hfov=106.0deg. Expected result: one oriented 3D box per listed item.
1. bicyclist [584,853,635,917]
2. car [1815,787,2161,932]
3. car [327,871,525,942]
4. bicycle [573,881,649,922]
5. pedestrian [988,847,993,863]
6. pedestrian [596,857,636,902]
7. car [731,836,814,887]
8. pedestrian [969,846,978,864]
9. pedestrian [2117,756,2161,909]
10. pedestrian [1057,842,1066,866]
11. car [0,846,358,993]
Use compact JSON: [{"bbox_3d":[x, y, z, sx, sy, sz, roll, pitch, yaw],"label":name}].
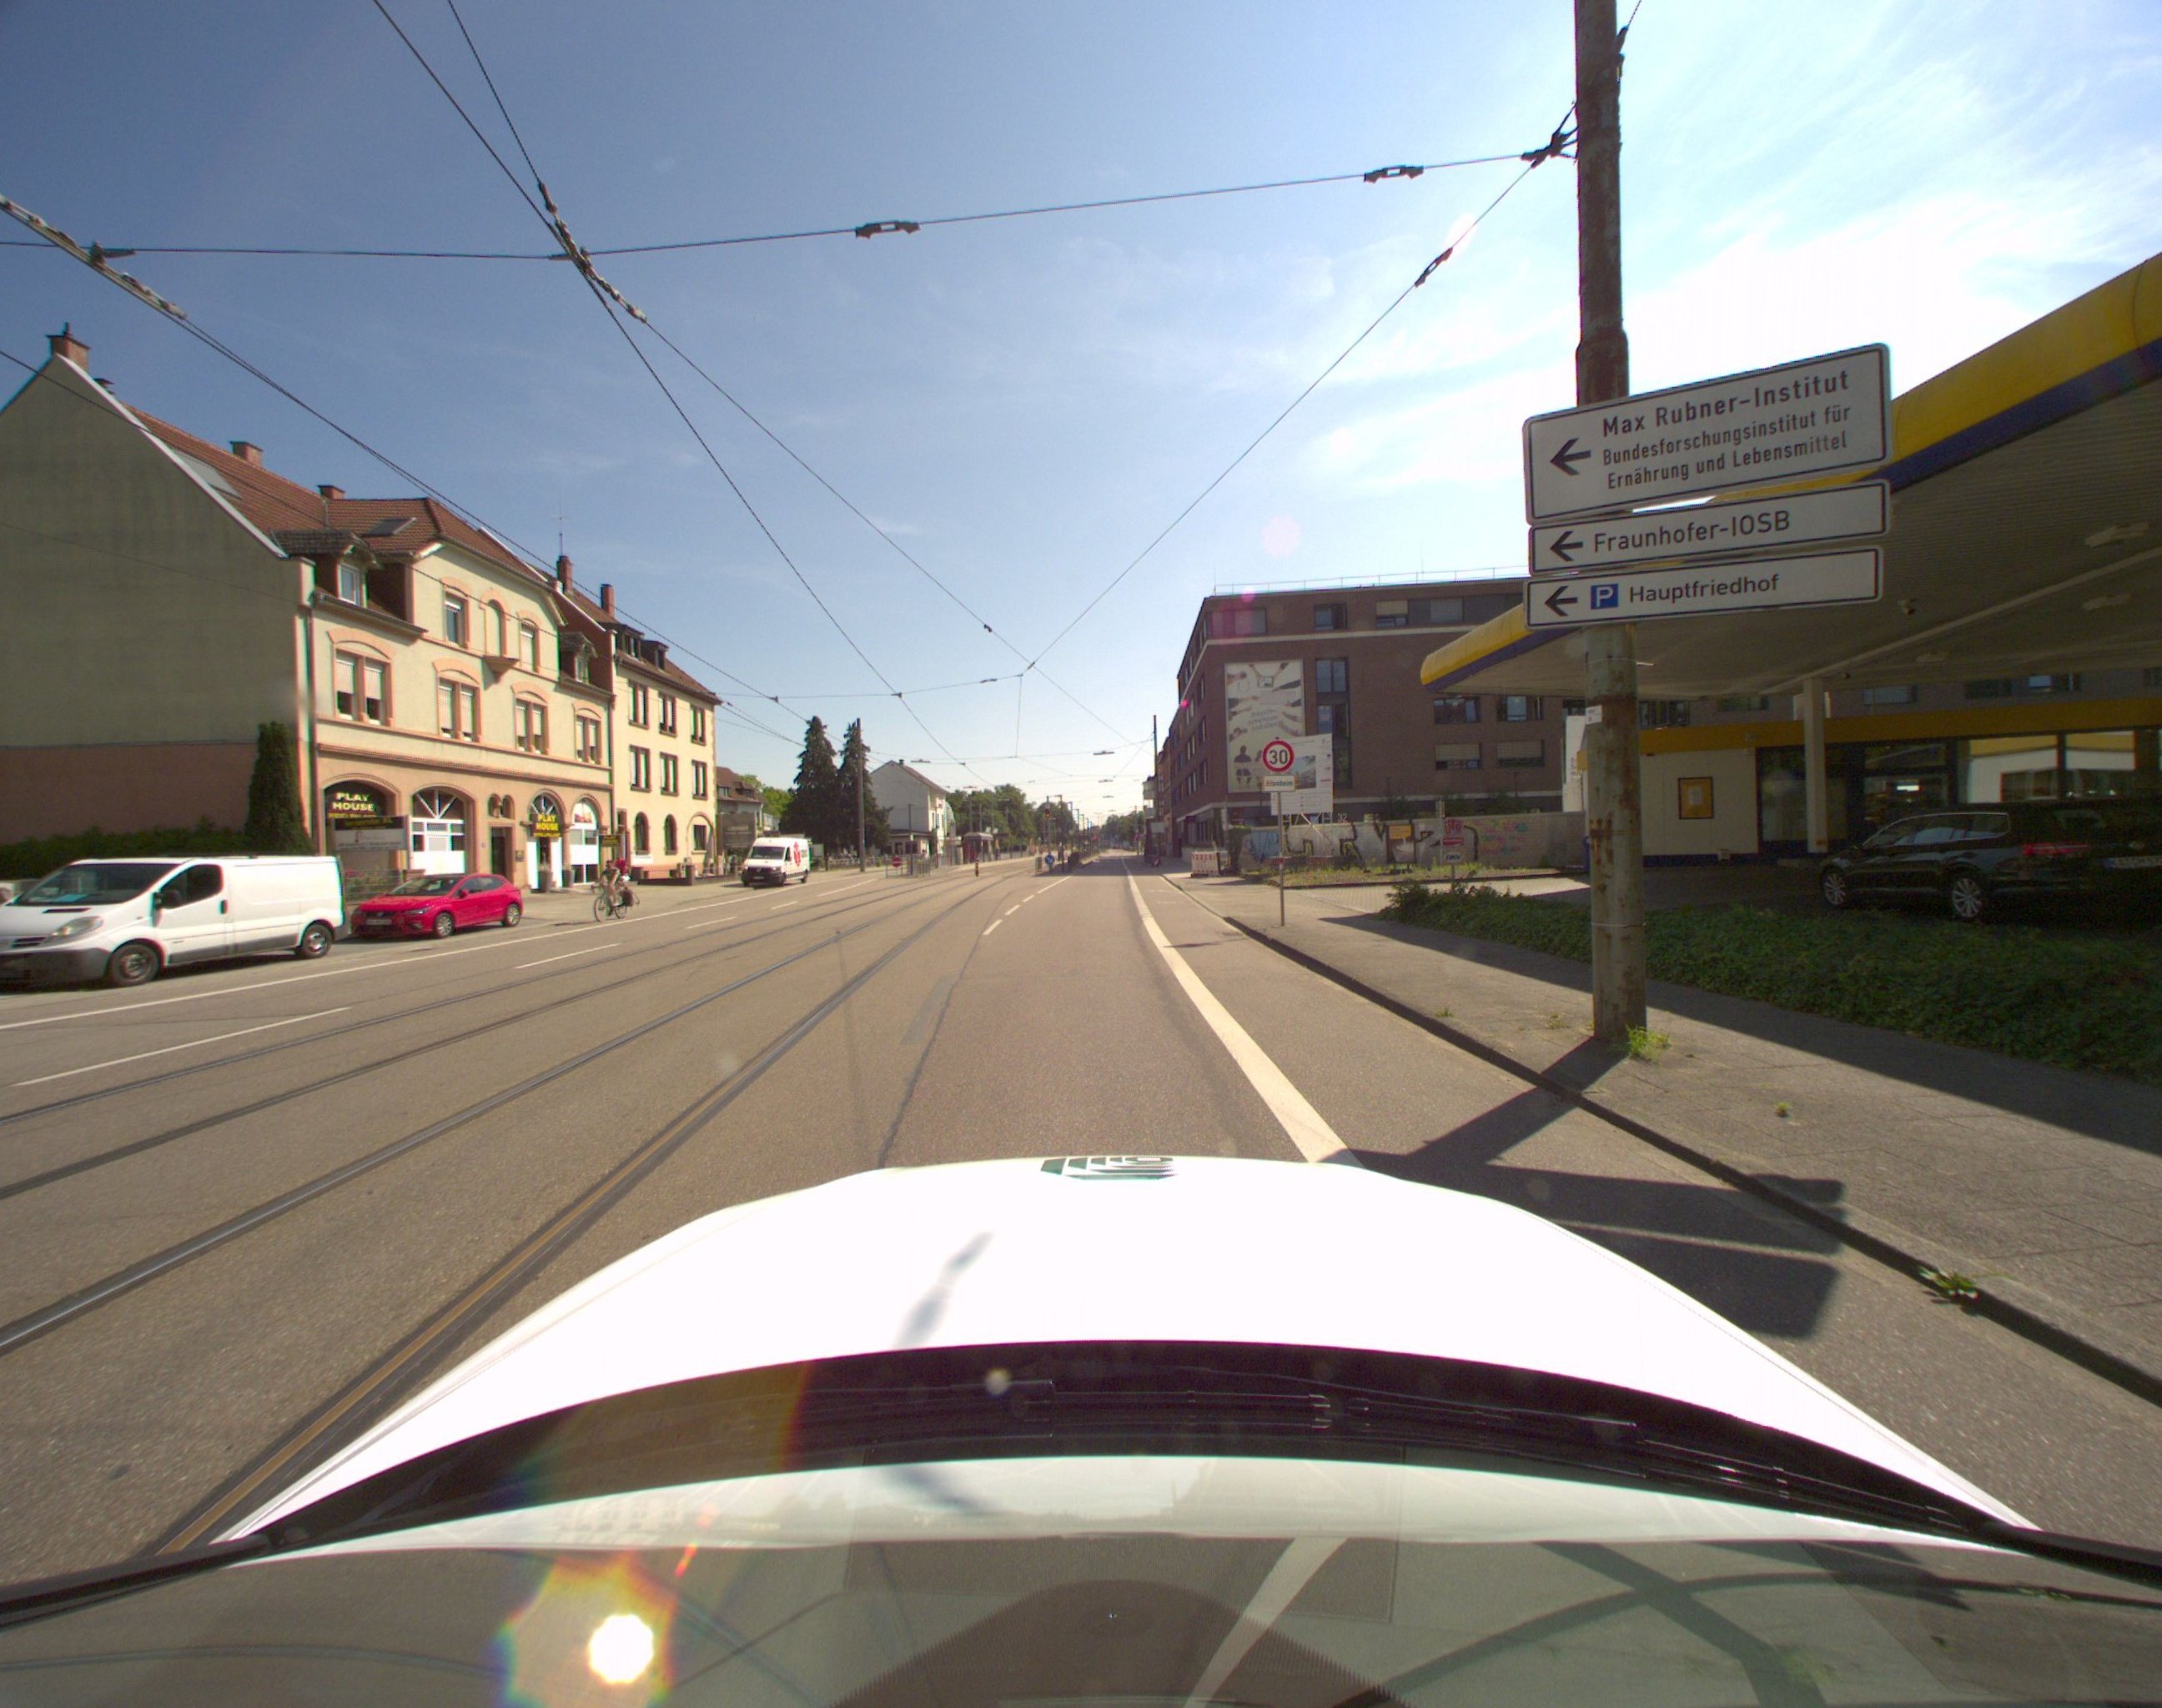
[{"bbox_3d":[-13.238,0.859,22.890,0.712,1.724,0.990,-2,0,8],"label":"bicyclist"},{"bbox_3d":[11.904,0.032,10.650,1.741,1.455,4.431,-5,-1,19],"label":"car"},{"bbox_3d":[-15.591,1.186,19.693,1.717,1.406,3.995,-1,0,-4],"label":"car"},{"bbox_3d":[-13.204,1.321,22.966,0.605,0.984,2.169,-3,0,7],"label":"bicycle"},{"bbox_3d":[-9.875,0.112,88.468,0.415,1.690,0.705,-2,0,-11],"label":"pedestrian"},{"bbox_3d":[-19.537,1.069,34.253,0.938,1.815,1.131,-2,0,5],"label":"pedestrian"},{"bbox_3d":[-16.448,0.363,43.872,2.324,2.535,6.499,0,0,-3],"label":"car"},{"bbox_3d":[-10.239,0.102,77.553,0.704,1.690,0.415,-2,0,-6],"label":"pedestrian"},{"bbox_3d":[12.569,-0.257,9.159,0.853,1.725,0.744,-2,0,-2],"label":"pedestrian"},{"bbox_3d":[-1.455,0.025,60.631,0.555,1.760,0.792,-2,1,-3],"label":"pedestrian"},{"bbox_3d":[-15.301,0.908,13.671,2.079,2.013,4.903,-1,0,-3],"label":"car"}]
